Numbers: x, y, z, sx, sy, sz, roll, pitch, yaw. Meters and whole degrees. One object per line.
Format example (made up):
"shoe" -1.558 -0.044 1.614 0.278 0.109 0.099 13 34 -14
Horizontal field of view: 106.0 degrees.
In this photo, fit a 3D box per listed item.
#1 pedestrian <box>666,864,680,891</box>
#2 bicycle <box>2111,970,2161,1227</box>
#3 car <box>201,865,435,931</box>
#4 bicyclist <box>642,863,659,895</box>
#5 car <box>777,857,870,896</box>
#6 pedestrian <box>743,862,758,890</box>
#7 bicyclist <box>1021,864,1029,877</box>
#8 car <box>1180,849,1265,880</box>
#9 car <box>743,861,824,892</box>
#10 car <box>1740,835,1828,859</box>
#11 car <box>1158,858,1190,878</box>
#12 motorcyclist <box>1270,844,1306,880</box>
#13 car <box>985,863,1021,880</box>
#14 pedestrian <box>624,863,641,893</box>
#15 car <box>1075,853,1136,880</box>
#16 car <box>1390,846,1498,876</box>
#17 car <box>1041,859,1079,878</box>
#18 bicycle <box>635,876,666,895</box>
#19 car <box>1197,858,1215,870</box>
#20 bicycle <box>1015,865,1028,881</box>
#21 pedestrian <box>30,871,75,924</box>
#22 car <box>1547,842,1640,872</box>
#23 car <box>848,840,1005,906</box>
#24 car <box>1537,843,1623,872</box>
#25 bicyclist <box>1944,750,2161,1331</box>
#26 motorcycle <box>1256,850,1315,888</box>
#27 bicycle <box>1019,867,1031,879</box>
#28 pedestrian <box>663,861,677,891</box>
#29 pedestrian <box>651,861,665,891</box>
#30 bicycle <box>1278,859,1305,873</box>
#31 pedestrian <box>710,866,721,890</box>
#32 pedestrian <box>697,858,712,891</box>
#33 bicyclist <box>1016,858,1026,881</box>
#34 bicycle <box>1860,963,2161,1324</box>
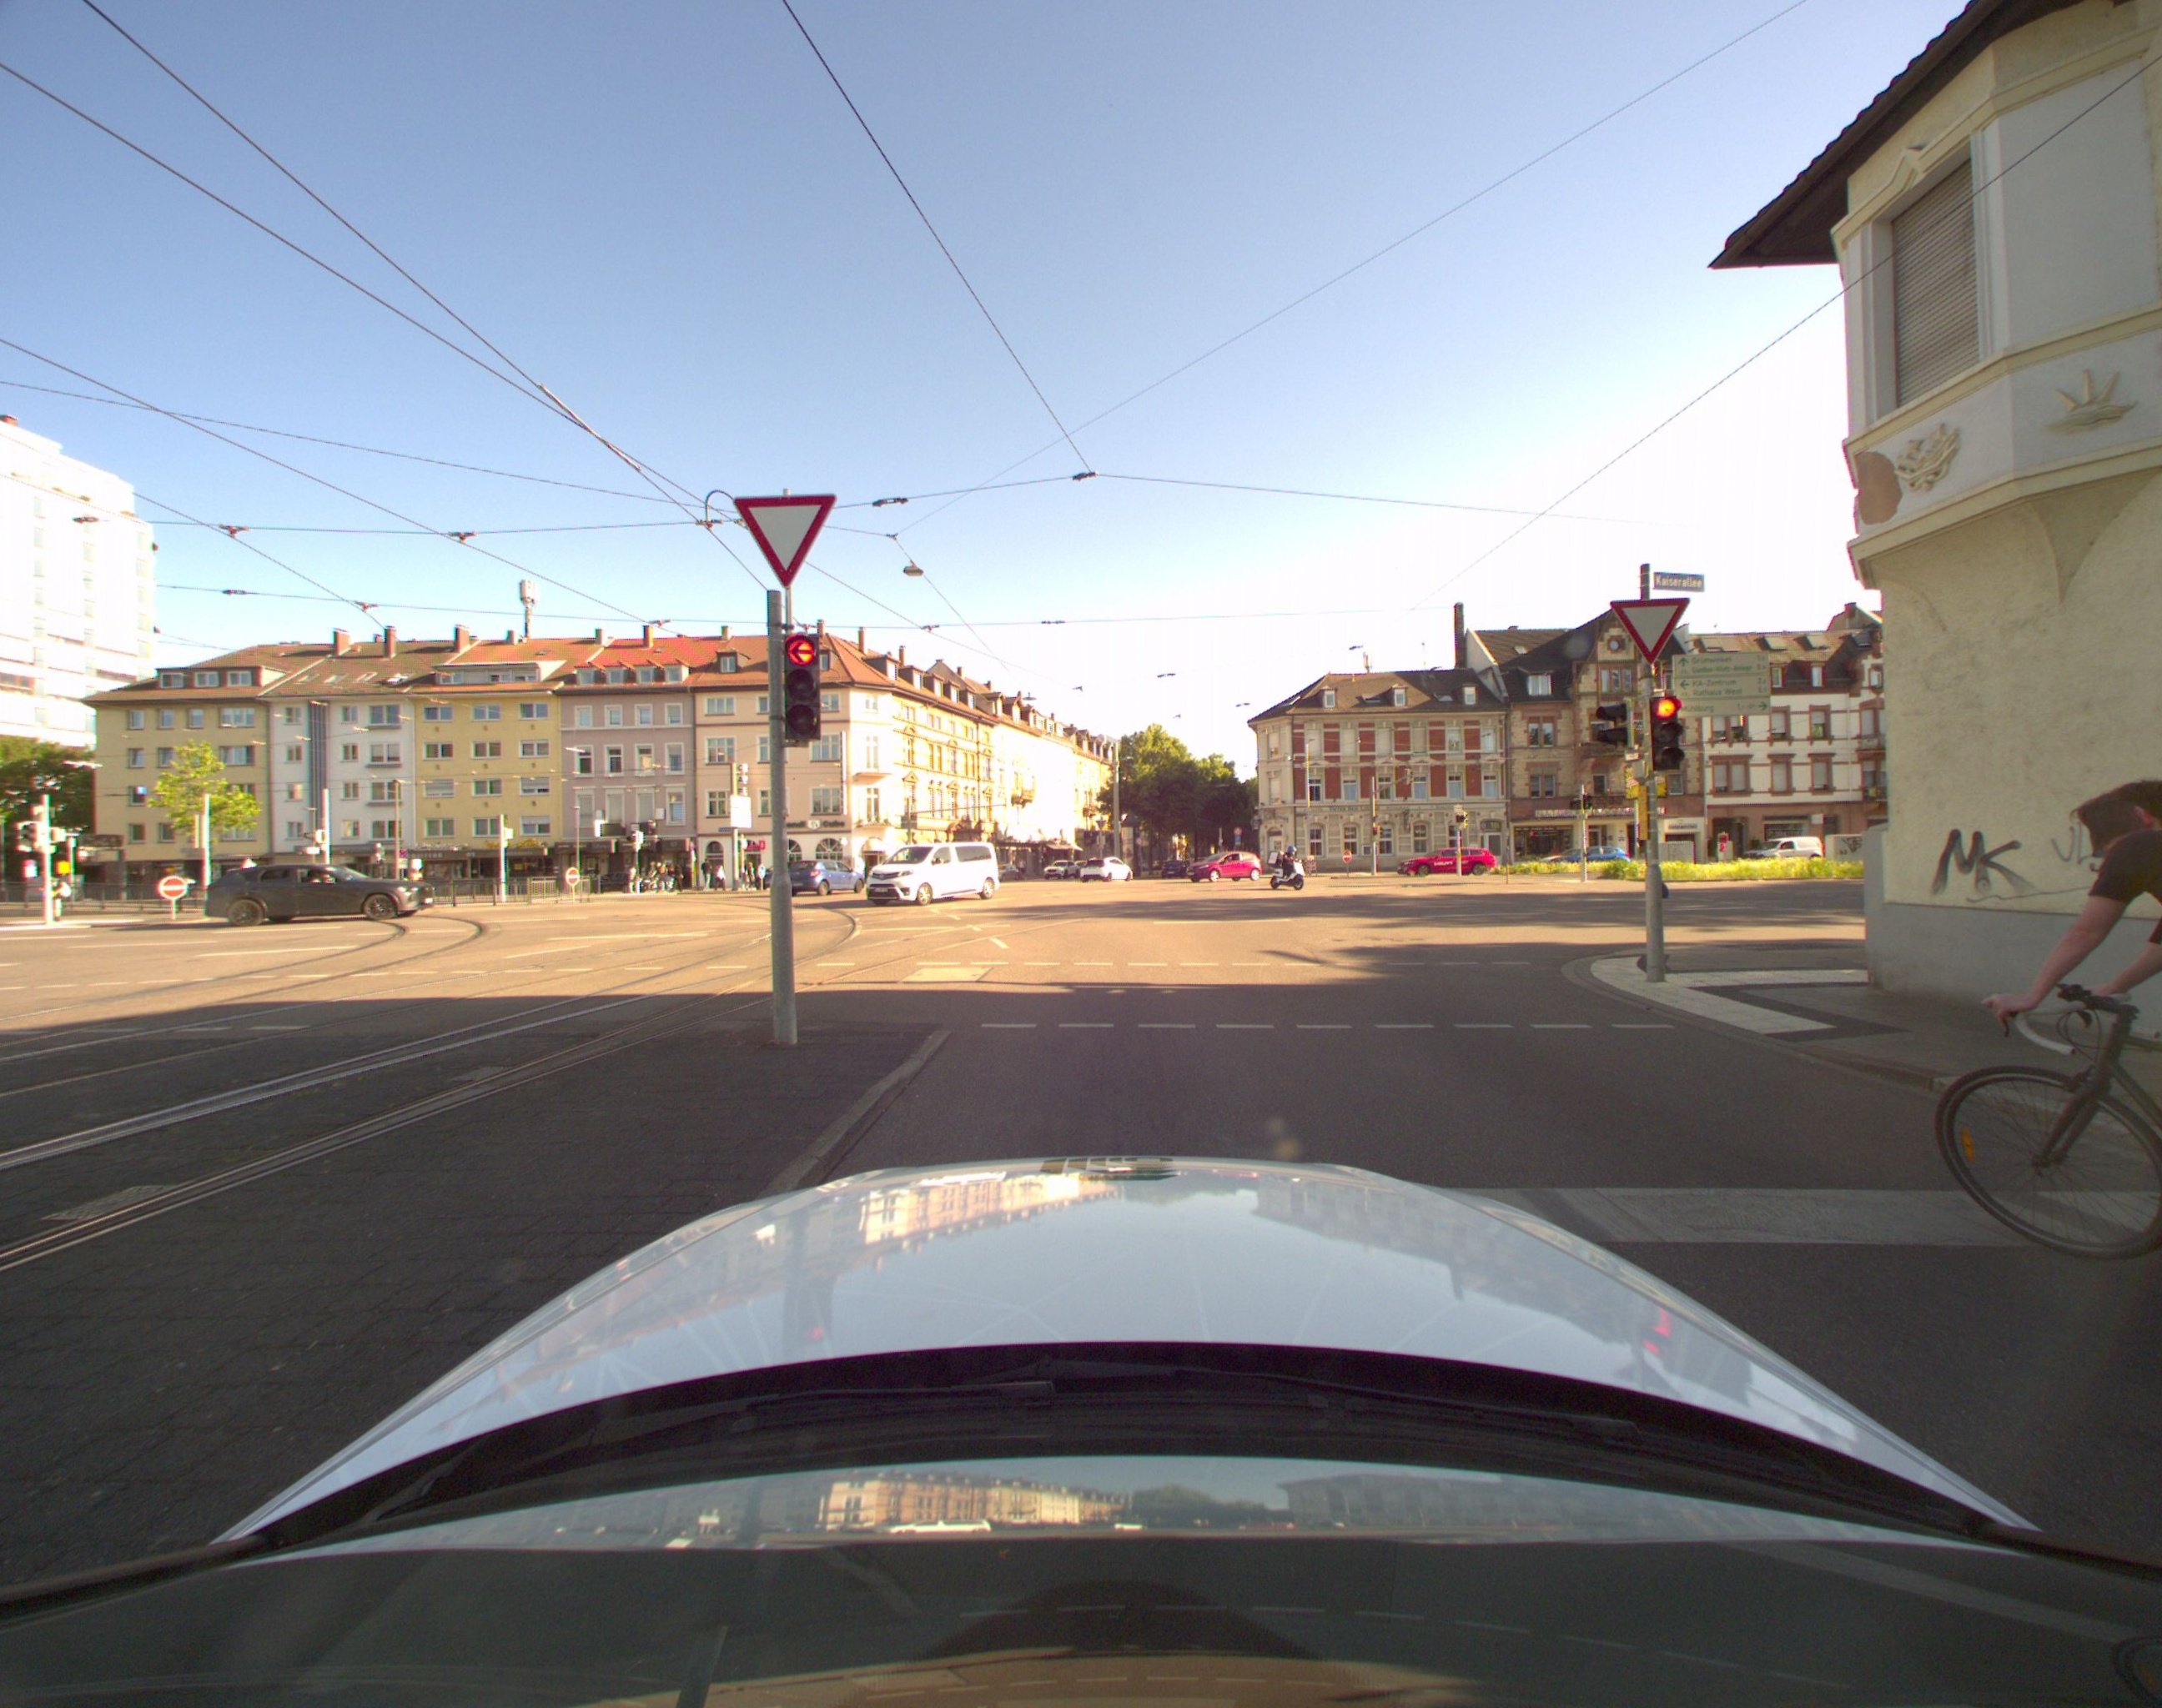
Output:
"pedestrian" -22.252 1.277 44.439 0.489 1.492 0.556 0 -1 1
"bicycle" 4.458 0.961 2.445 0.501 0.983 1.783 0 -1 2
"car" -21.590 1.191 23.292 4.456 1.602 1.861 -2 0 -21
"bicyclist" -24.302 1.385 46.010 0.618 1.790 0.616 0 -1 7
"car" -10.884 0.912 34.670 1.770 1.503 3.937 -2 0 17
"pedestrian" -19.865 1.301 48.960 0.580 1.648 0.840 0 -1 1
"bicyclist" -4.641 1.392 67.719 0.469 1.040 0.540 -1 -1 17
"car" 6.901 0.493 39.719 3.889 1.426 1.582 -1 0 -26
"car" -15.867 1.177 43.401 4.145 1.575 1.843 -1 0 32
"car" 45.211 -0.432 52.431 3.961 1.438 1.874 0 -1 5
"car" 7.133 1.051 62.113 1.812 1.403 4.016 -1 0 15
"motorcyclist" 7.484 0.291 29.467 0.792 1.300 1.008 0 -1 -31
"car" -6.423 1.407 67.496 1.647 1.374 3.909 -1 -1 17
"pedestrian" -25.492 1.357 46.285 0.582 1.648 0.616 0 -1 1
"car" 1.531 0.723 48.325 1.874 1.454 4.034 -2 1 30
"car" 18.938 0.354 42.590 4.838 1.469 1.805 -1 1 3
"car" -1.679 1.181 67.478 1.788 1.585 4.179 -1 -1 19
"bicycle" -24.302 1.778 45.996 0.618 1.030 1.758 0 -1 7
"car" 17.884 1.354 116.370 1.978 1.684 4.018 -1 -1 17
"bicycle" -4.772 1.490 65.457 0.561 1.254 1.564 -1 -1 17
"pedestrian" -31.755 1.333 25.154 0.770 1.609 0.605 0 -1 -44
"car" 28.330 0.186 45.114 3.970 1.622 1.806 0 -1 3
"car" -4.734 0.523 25.897 1.975 1.854 5.248 0 0 29
"car" 29.478 0.202 48.196 3.970 1.622 1.806 0 -1 3
"bicyclist" 3.583 0.568 2.628 0.587 1.767 0.936 0 -1 2
"motorcycle" 7.357 0.522 29.416 0.799 1.333 2.121 0 -1 -31
"bicycle" -4.640 1.588 67.706 0.469 0.922 1.458 -1 -1 17
"pedestrian" -22.654 1.207 44.891 0.520 1.648 0.498 0 -1 1
"pedestrian" -23.210 1.202 44.686 0.520 1.648 0.498 0 -1 1
"bicycle" 14.710 0.833 56.918 1.789 0.963 0.606 -1 -1 16
"pedestrian" -21.351 1.407 47.587 0.401 1.419 0.625 0 -1 -4
"pedestrian" -20.889 1.155 45.218 0.525 1.823 0.677 0 -1 2
"bicyclist" -4.814 1.221 65.360 0.561 1.804 0.918 -1 -1 17
"bicycle" 3.587 0.961 2.624 0.480 0.991 1.783 0 -1 2
